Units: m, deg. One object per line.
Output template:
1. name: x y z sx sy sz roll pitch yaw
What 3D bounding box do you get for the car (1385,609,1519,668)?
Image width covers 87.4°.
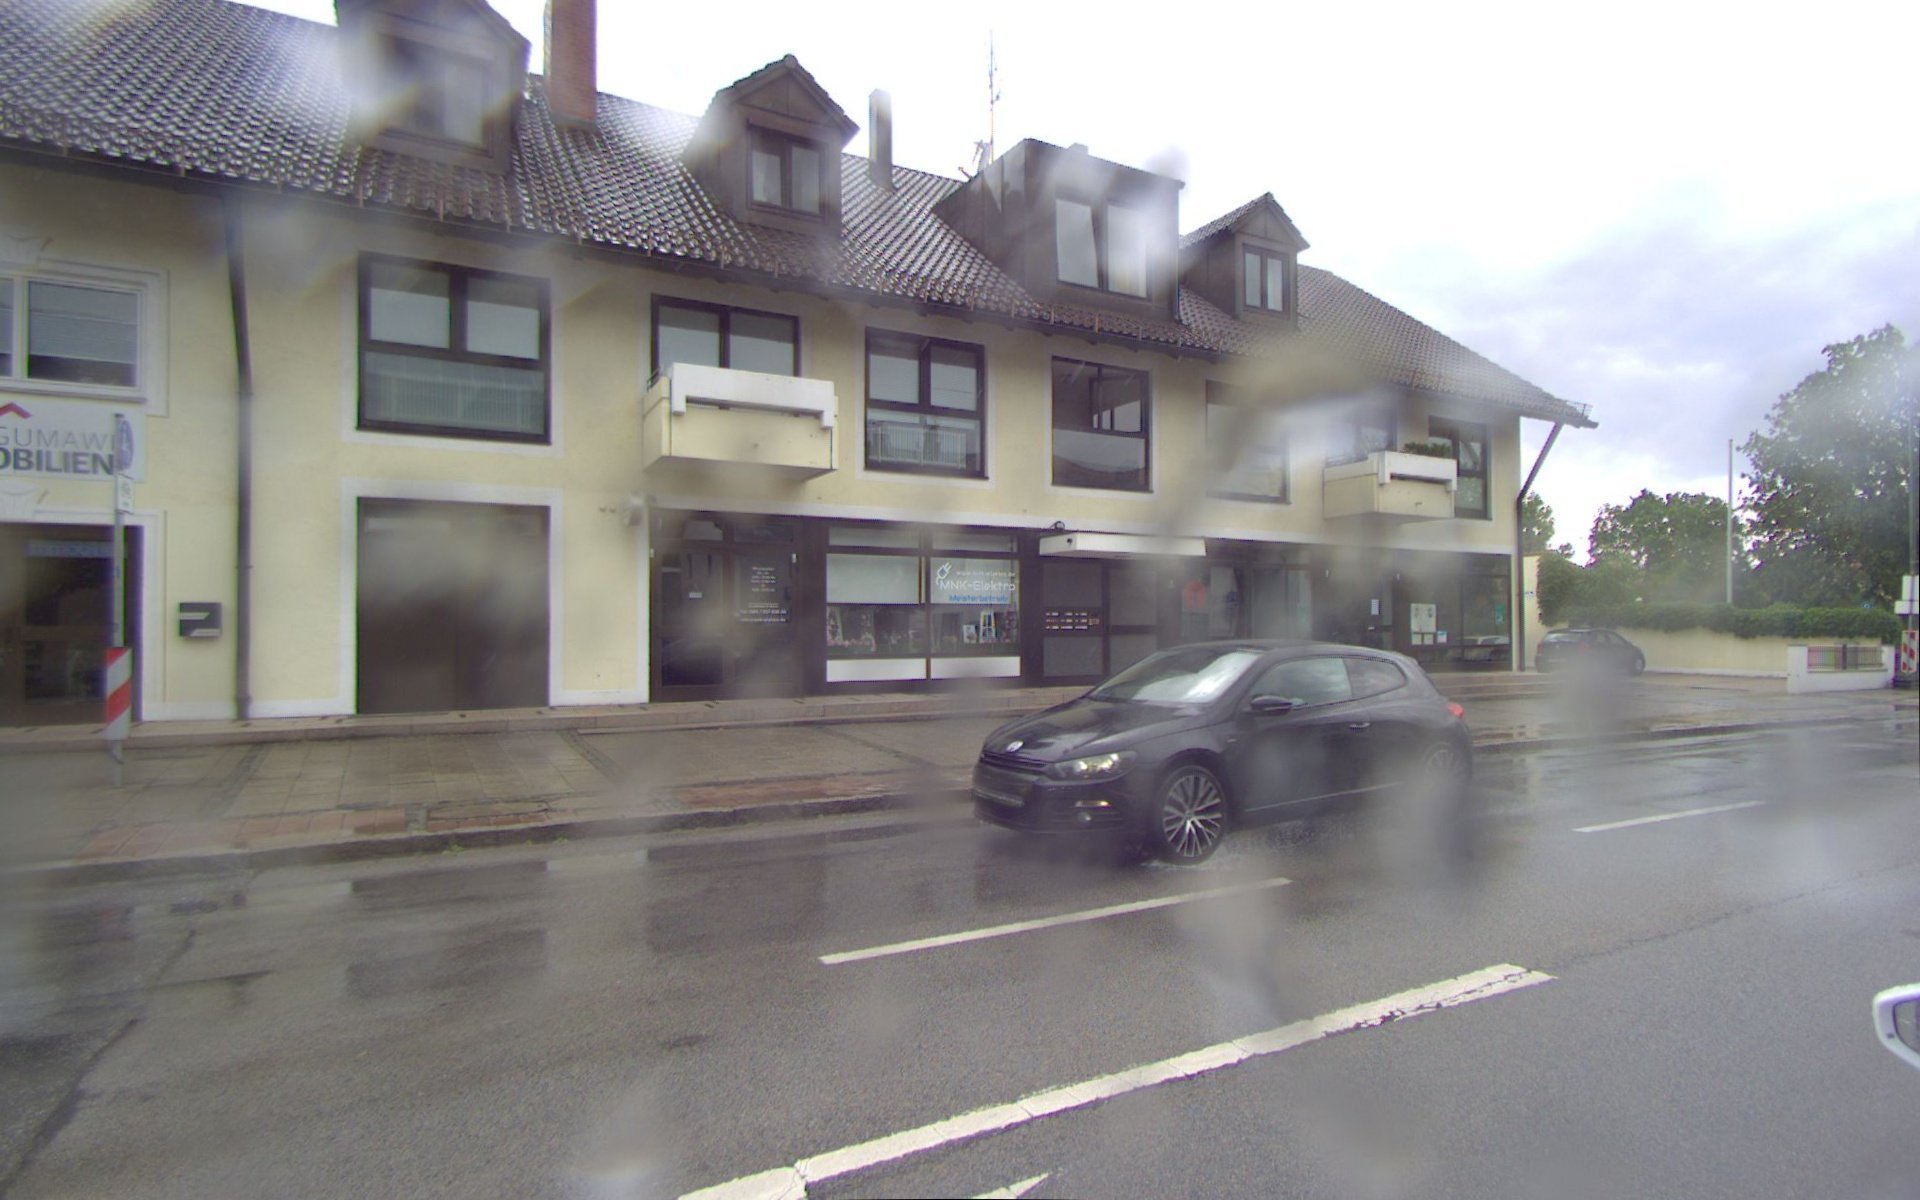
1. car: 17.088 1.349 34.851 4.682 1.944 1.955 1 -3 -31

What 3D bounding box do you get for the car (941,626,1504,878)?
1. car: 1.997 0.941 7.555 3.838 1.426 1.987 1 -3 -30

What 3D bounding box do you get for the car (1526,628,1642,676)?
1. car: 19.119 1.581 30.763 3.467 1.398 1.599 1 -3 -30
